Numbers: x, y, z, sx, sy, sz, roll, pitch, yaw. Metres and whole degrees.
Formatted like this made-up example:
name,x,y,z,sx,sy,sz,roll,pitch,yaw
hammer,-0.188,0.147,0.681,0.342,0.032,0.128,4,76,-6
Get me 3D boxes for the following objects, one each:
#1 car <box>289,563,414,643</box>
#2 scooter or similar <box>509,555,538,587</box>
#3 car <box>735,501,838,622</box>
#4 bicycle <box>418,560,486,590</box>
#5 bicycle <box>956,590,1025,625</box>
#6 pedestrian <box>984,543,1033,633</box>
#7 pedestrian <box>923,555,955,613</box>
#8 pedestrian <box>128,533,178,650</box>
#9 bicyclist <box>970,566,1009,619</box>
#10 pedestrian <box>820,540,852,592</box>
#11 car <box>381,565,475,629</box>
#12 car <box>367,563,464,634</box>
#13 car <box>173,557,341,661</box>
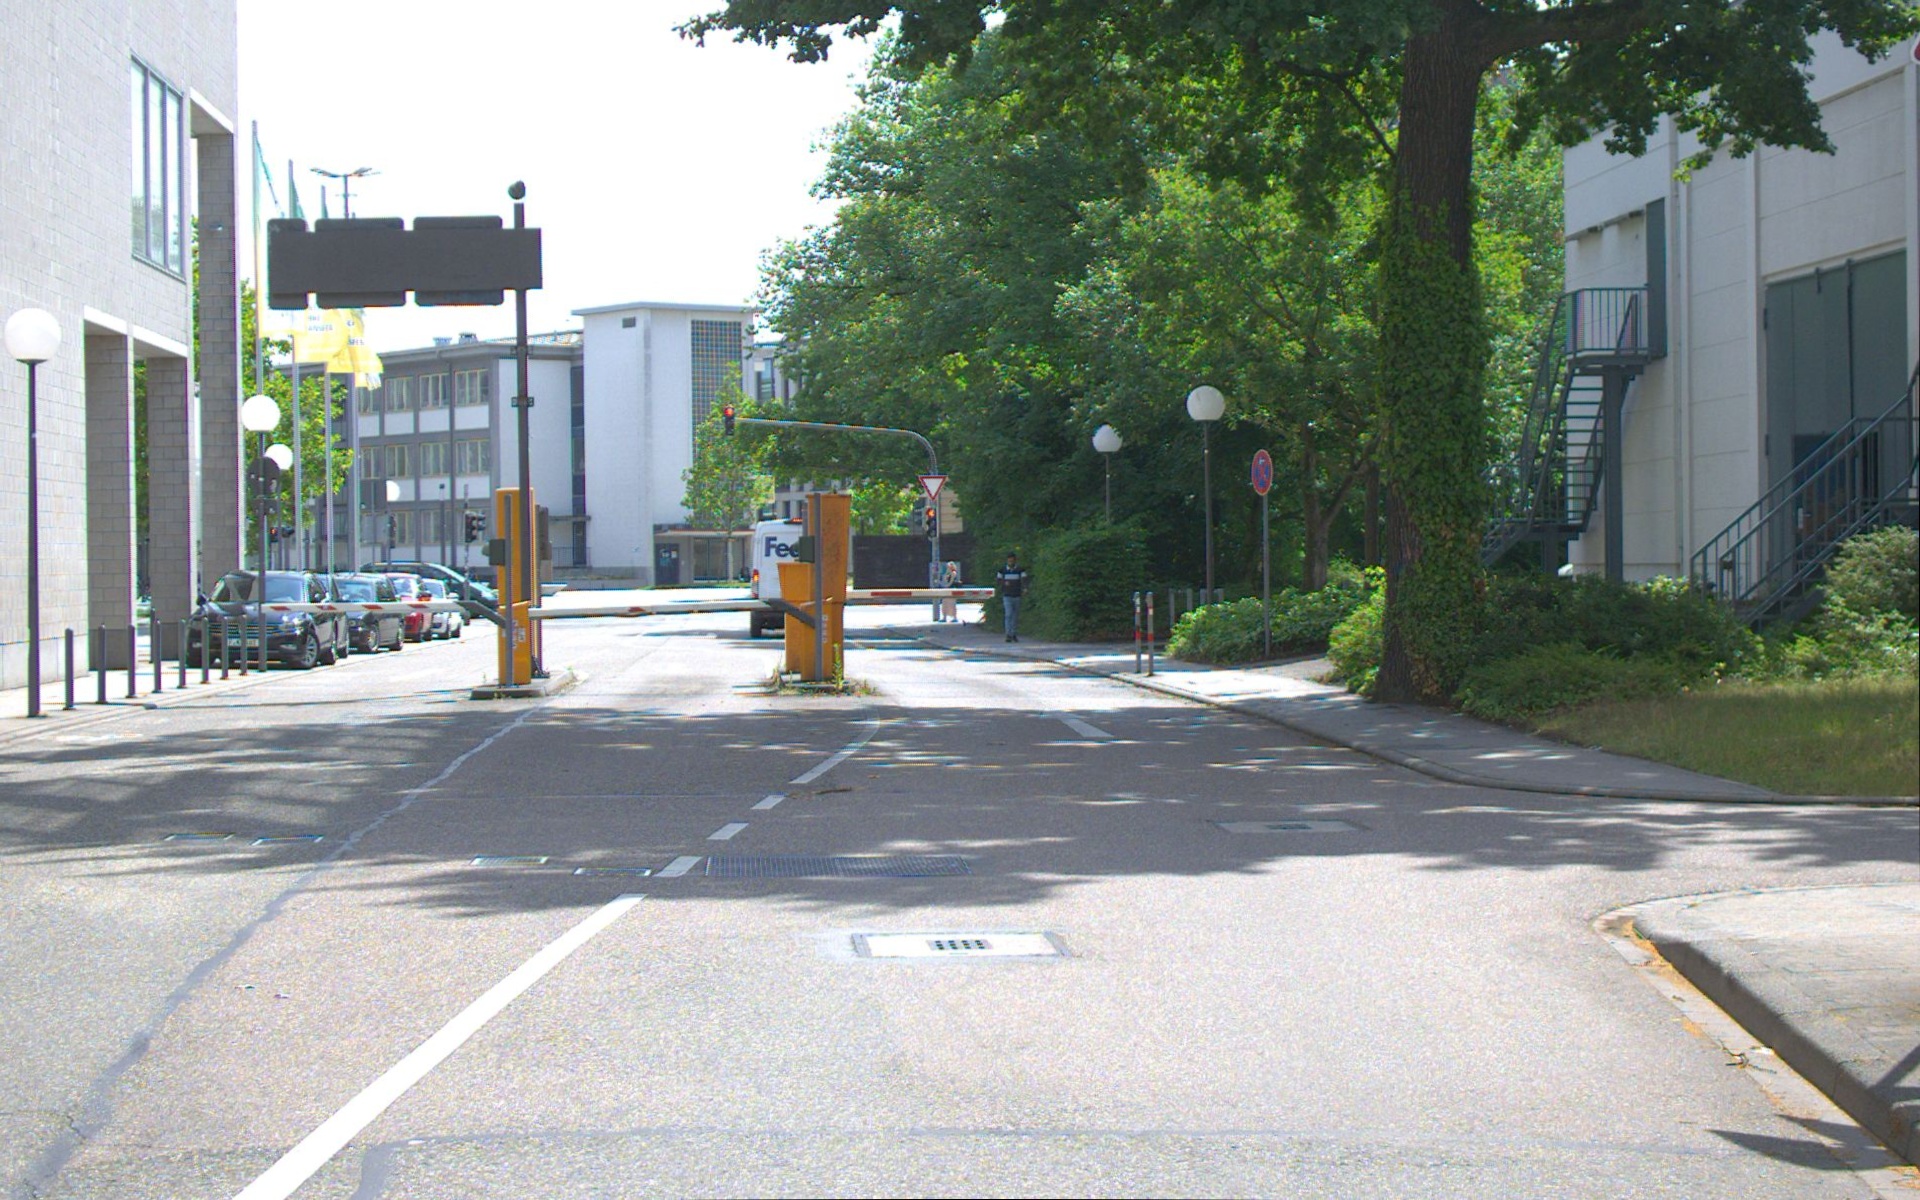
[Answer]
name,x,y,z,sx,sy,sz,roll,pitch,yaw
car,-11.313,0.022,64.186,1.859,1.373,5.017,2,1,-5
scooter or similar,-15.977,-1.066,125.695,0.716,1.174,2.726,0,1,-14
car,-3.887,-0.869,76.042,2.095,2.558,5.603,-1,1,-4
bicycle,-23.272,-1.159,157.482,2.957,1.359,1.116,0,0,-41
bicycle,0.881,0.202,98.296,2.101,0.992,0.678,0,0,-44
pedestrian,0.901,-0.228,64.122,0.739,1.669,1.257,0,1,-7
pedestrian,-0.570,-0.440,92.957,0.731,1.570,0.776,1,0,-8
pedestrian,-16.795,-0.181,71.552,0.757,2.414,0.738,0,1,11
bicyclist,0.837,-0.217,98.274,0.892,1.490,0.664,0,0,-44
pedestrian,-4.492,-1.235,124.535,1.080,1.864,0.832,-1,1,-5
car,-12.389,-0.097,80.340,1.676,1.390,4.663,2,1,-3
car,-11.912,-0.044,75.404,1.676,1.462,3.911,2,1,-3
car,-10.639,0.103,52.348,1.859,1.462,4.719,2,1,-4
